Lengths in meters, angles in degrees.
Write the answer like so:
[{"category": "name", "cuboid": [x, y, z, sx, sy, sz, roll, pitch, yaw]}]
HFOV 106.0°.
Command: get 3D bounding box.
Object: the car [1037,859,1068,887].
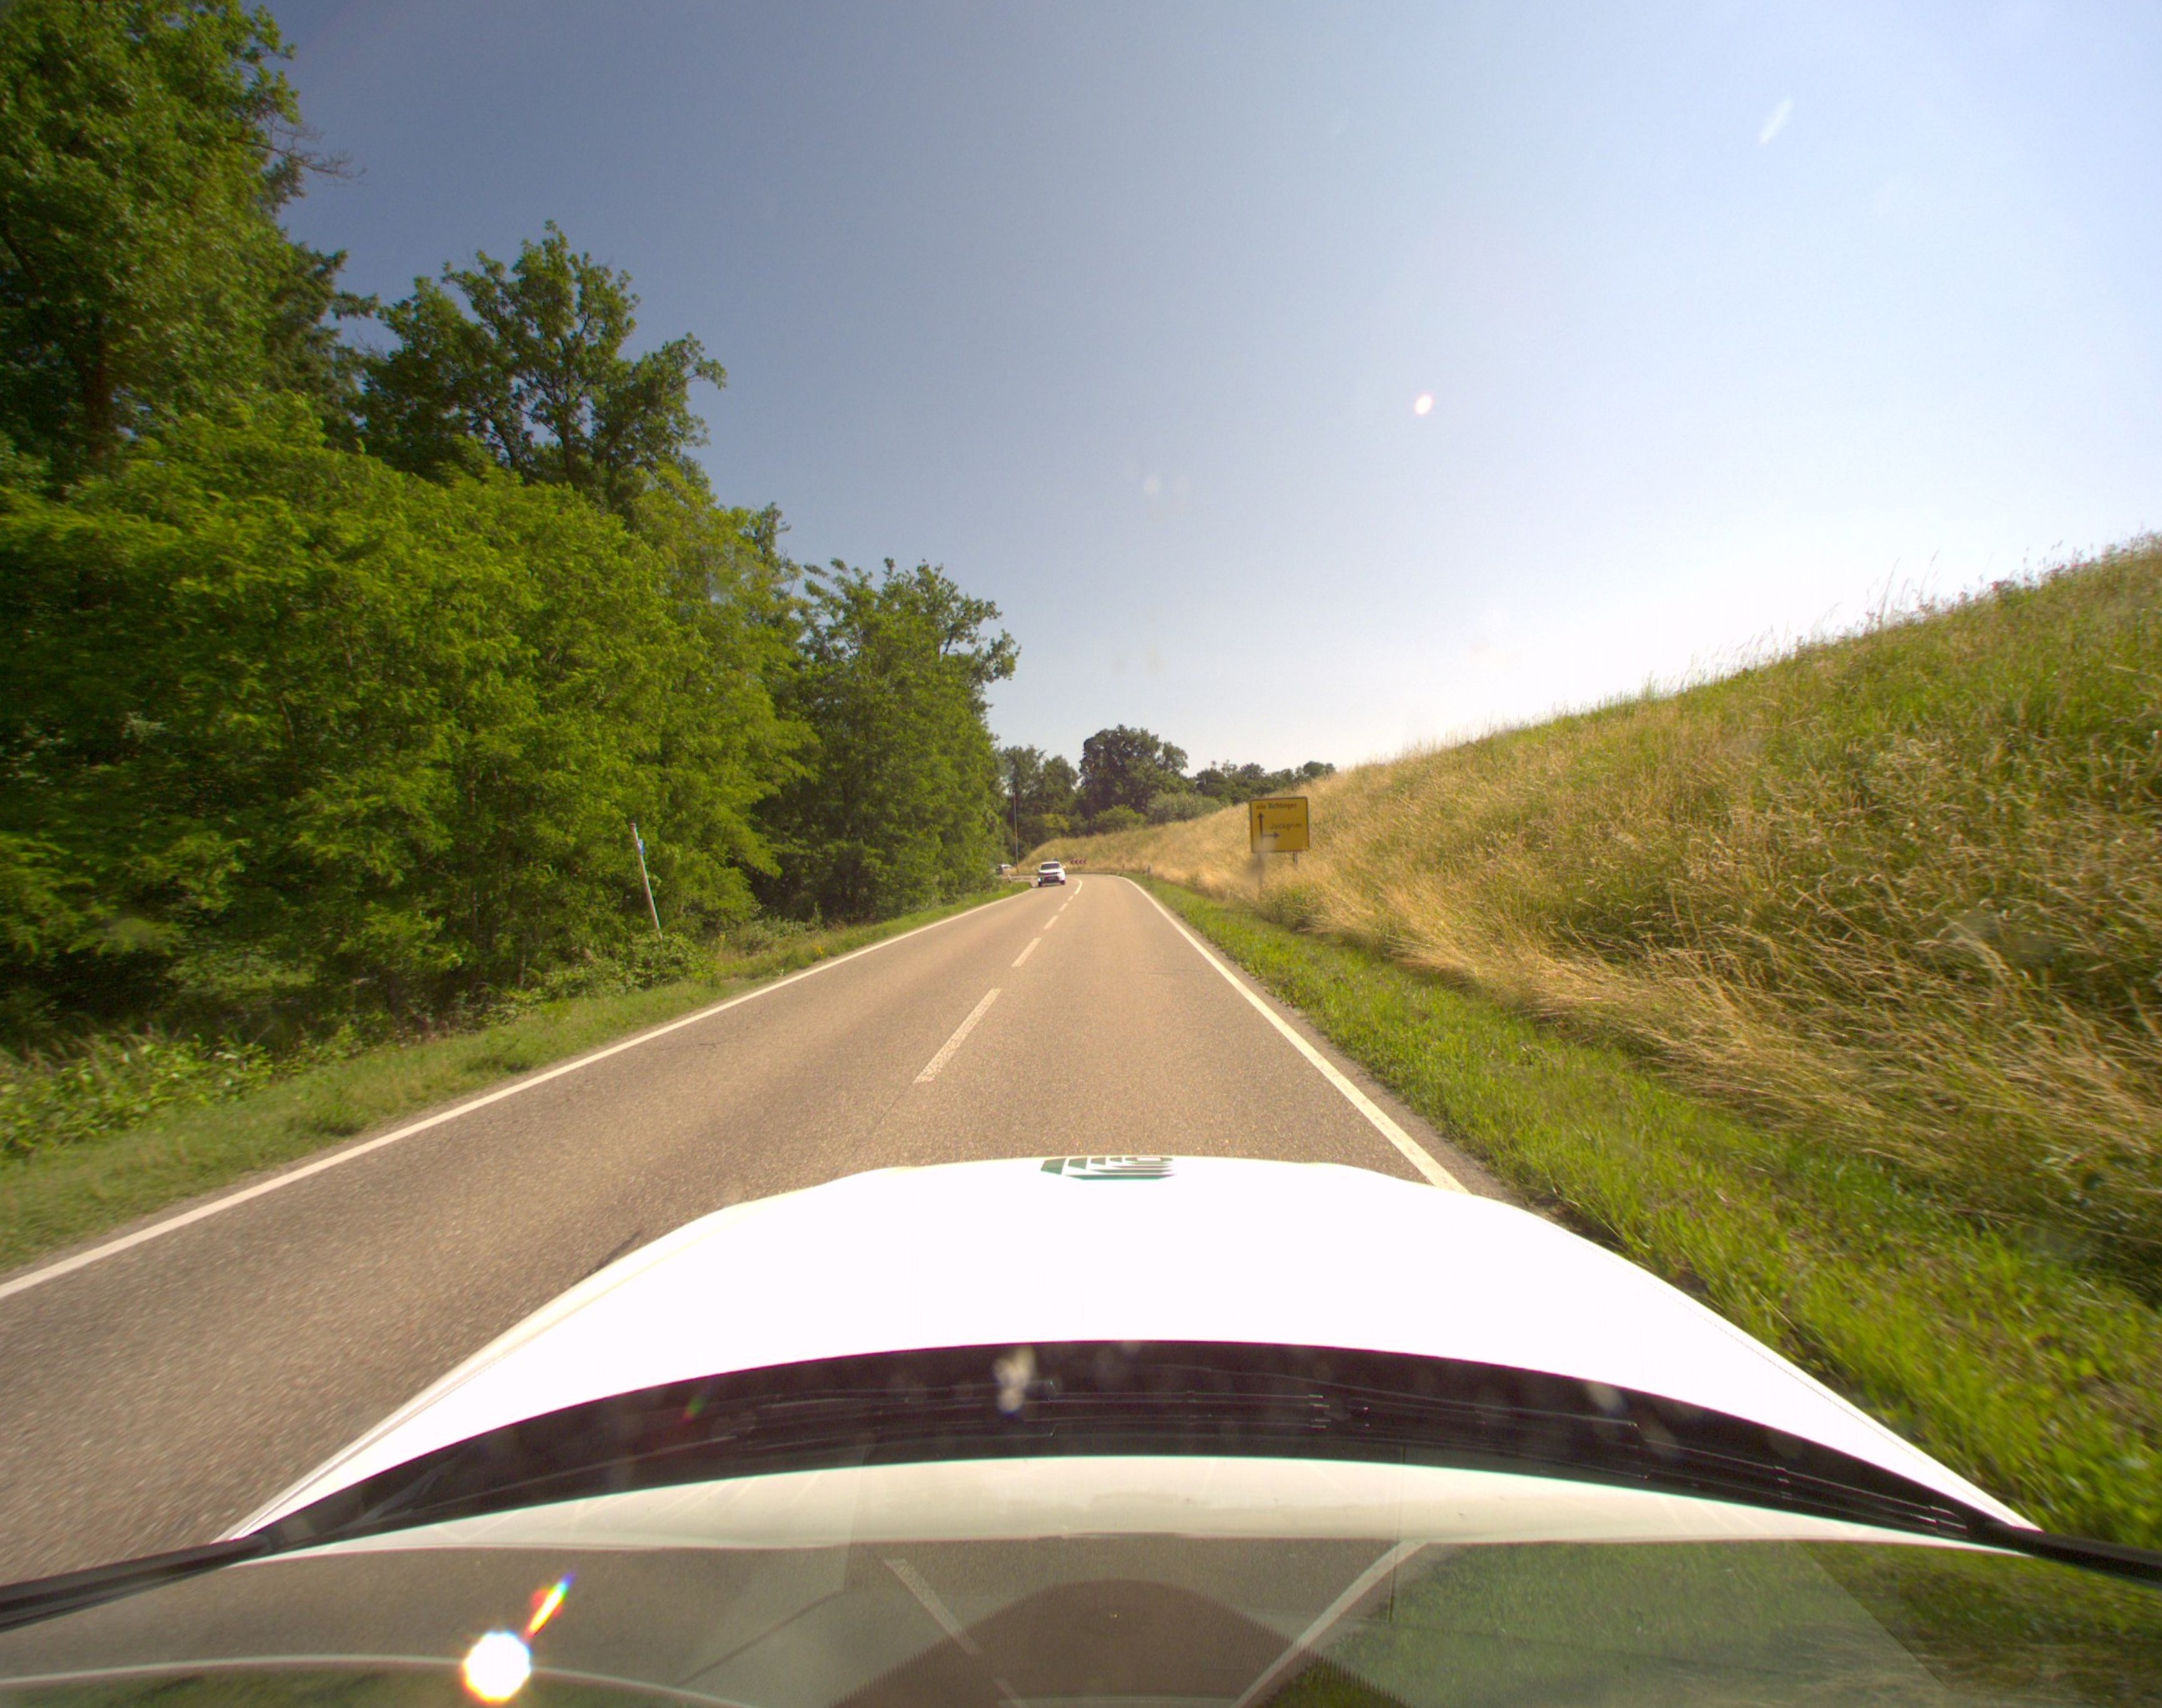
[{"category": "car", "cuboid": [-1.875, 1.245, 54.256, 1.804, 1.676, 3.998, -5, 0, -1]}]
